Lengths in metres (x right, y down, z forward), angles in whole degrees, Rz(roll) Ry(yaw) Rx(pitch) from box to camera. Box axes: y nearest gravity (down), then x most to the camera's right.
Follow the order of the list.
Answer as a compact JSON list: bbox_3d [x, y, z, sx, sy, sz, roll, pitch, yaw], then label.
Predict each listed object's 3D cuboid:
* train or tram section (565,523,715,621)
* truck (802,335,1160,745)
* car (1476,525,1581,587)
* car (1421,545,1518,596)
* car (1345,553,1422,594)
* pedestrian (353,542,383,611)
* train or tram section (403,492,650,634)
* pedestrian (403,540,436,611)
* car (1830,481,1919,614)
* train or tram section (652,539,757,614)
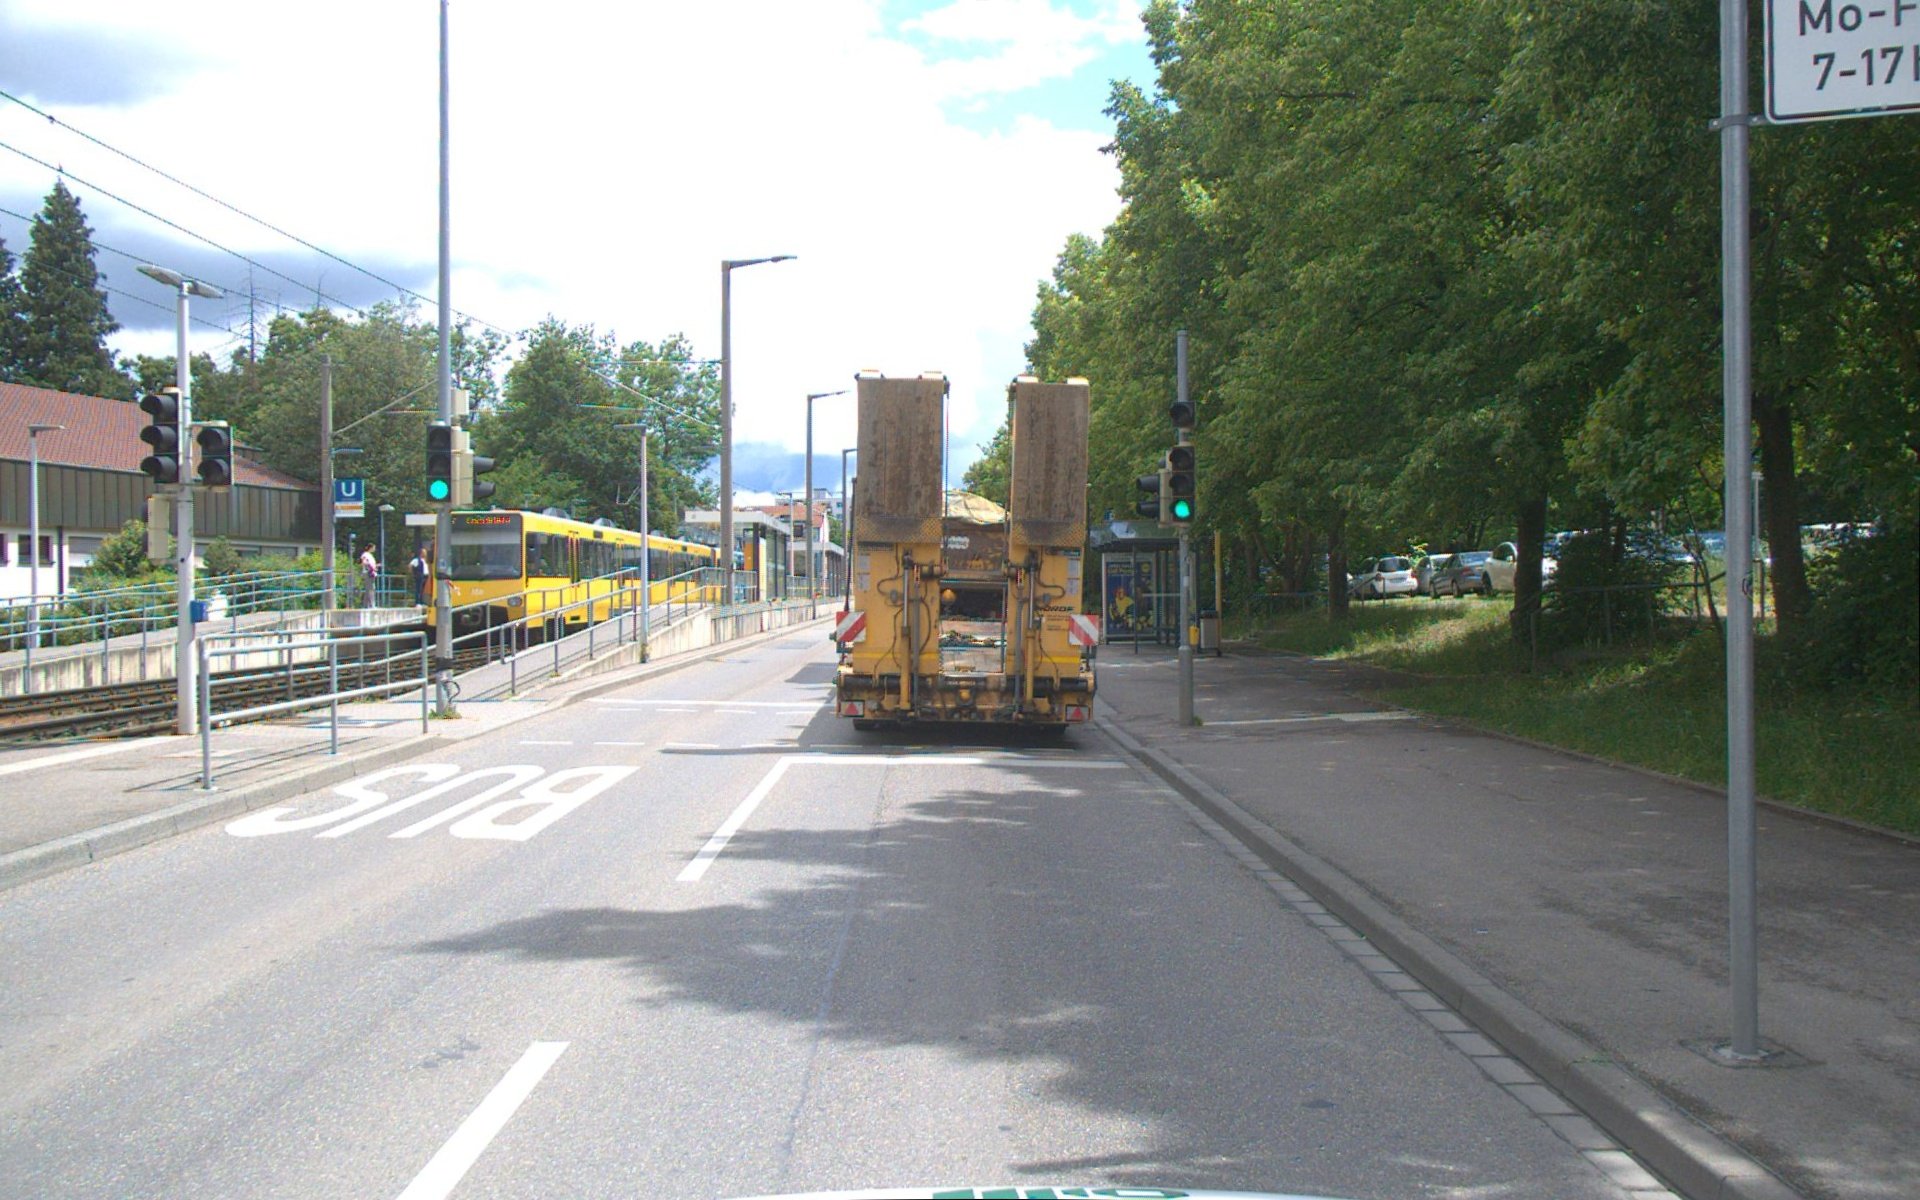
[{"bbox_3d":[-13.149,-1.082,70.218,3.045,3.525,18.991,1,0,-1],"label":"train or tram section"},{"bbox_3d":[-0.203,-0.609,22.300,3.335,3.797,13.729,0,0,-4],"label":"truck"},{"bbox_3d":[16.056,-1.236,46.933,1.440,1.582,4.432,-4,1,1],"label":"car"},{"bbox_3d":[15.953,-0.896,52.038,1.580,1.467,4.352,-3,0,-1],"label":"car"},{"bbox_3d":[16.246,-1.000,63.618,1.803,1.445,4.123,-3,0,-1],"label":"car"},{"bbox_3d":[-15.809,-0.633,44.178,0.572,1.809,0.576,1,0,-1],"label":"pedestrian"},{"bbox_3d":[-12.727,-0.983,51.273,3.045,3.525,18.821,1,0,-1],"label":"train or tram section"},{"bbox_3d":[-15.848,-0.723,48.525,0.698,2.049,0.731,1,0,-3],"label":"pedestrian"},{"bbox_3d":[11.998,-0.664,19.079,1.594,1.540,4.138,-4,0,-1],"label":"car"},{"bbox_3d":[-13.510,-1.174,89.340,3.045,3.525,19.193,1,0,-1],"label":"train or tram section"}]
